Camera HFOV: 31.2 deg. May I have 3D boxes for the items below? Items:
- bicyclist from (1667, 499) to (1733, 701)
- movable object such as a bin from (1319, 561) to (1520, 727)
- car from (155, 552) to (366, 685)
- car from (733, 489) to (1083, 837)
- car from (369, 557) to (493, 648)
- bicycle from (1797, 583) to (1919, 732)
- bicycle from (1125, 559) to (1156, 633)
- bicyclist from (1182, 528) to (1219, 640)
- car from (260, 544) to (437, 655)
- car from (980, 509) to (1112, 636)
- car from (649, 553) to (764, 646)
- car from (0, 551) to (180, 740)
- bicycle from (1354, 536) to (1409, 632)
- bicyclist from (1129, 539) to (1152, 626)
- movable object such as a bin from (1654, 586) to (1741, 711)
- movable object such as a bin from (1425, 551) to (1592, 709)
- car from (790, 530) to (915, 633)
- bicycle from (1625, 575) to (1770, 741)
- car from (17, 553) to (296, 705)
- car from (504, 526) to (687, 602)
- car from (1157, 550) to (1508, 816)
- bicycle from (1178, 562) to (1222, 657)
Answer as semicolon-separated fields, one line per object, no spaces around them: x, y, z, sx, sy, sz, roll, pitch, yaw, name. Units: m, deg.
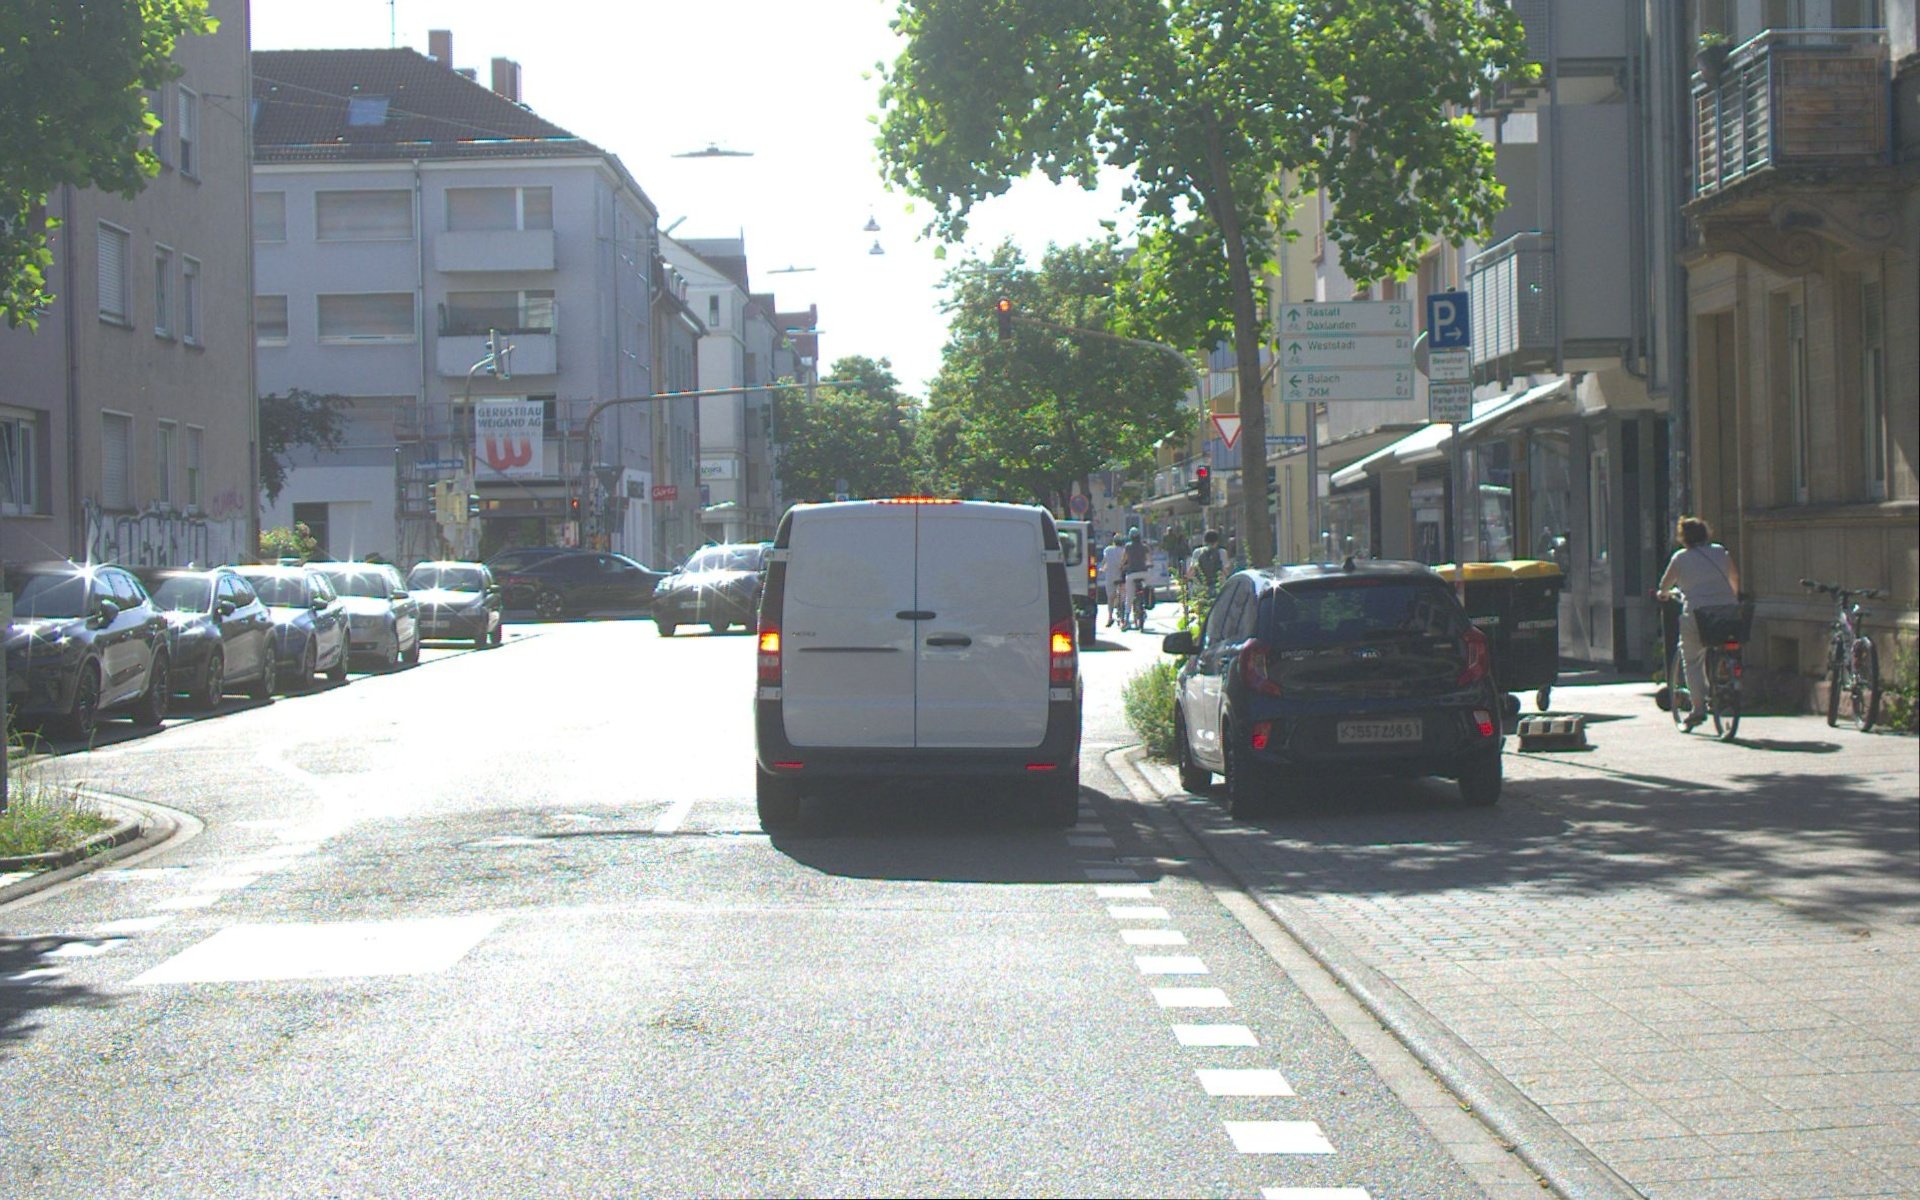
5.433;-0.004;25.245;0.361;1.472;0.531;0;1;-1;bicyclist
3.921;0.359;29.322;1.268;1.343;1.108;-3;1;-43;movable object such as a bin
-8.682;0.184;43.001;1.721;1.491;4.626;2;1;-1;car
-0.389;0.288;21.321;1.920;1.907;4.889;0;1;-2;car
-9.140;0.022;59.582;1.653;1.474;4.001;1;1;-2;car
6.664;0.410;25.551;0.432;1.027;1.428;-4;1;-1;bicycle
3.223;-0.078;61.548;0.416;1.305;1.335;0;1;-3;bicycle
3.250;-0.221;46.544;0.439;1.503;0.497;1;1;-1;bicyclist
-8.717;-0.047;49.335;1.776;1.464;4.760;1;1;-1;car
1.337;-0.466;55.278;1.815;1.914;4.645;-1;1;-2;car
-4.677;-0.041;63.966;1.867;1.608;4.428;-2;1;-1;car
-8.689;0.363;31.975;1.877;1.600;4.365;1;1;0;car
5.771;-0.229;47.111;0.475;1.270;1.218;-4;1;-1;bicycle
3.239;-0.318;61.868;0.355;1.570;0.482;0;1;-4;bicyclist
6.285;0.407;29.295;0.598;1.038;0.546;-1;1;-1;movable object such as a bin
4.864;0.252;30.491;1.040;1.343;1.106;0;2;38;movable object such as a bin
-1.677;-0.319;53.419;1.844;1.502;4.001;-1;1;-2;car
5.470;0.406;25.597;0.536;1.145;2.124;-2;1;-1;bicycle
-8.779;0.271;37.917;1.993;1.491;4.228;2;1;1;car
-8.182;-0.822;77.450;3.986;1.634;2.000;-1;1;-4;car
2.253;0.451;21.617;1.635;1.470;3.581;-2;1;-2;car
3.247;0.118;46.504;0.475;1.270;1.218;0;1;-1;bicycle
